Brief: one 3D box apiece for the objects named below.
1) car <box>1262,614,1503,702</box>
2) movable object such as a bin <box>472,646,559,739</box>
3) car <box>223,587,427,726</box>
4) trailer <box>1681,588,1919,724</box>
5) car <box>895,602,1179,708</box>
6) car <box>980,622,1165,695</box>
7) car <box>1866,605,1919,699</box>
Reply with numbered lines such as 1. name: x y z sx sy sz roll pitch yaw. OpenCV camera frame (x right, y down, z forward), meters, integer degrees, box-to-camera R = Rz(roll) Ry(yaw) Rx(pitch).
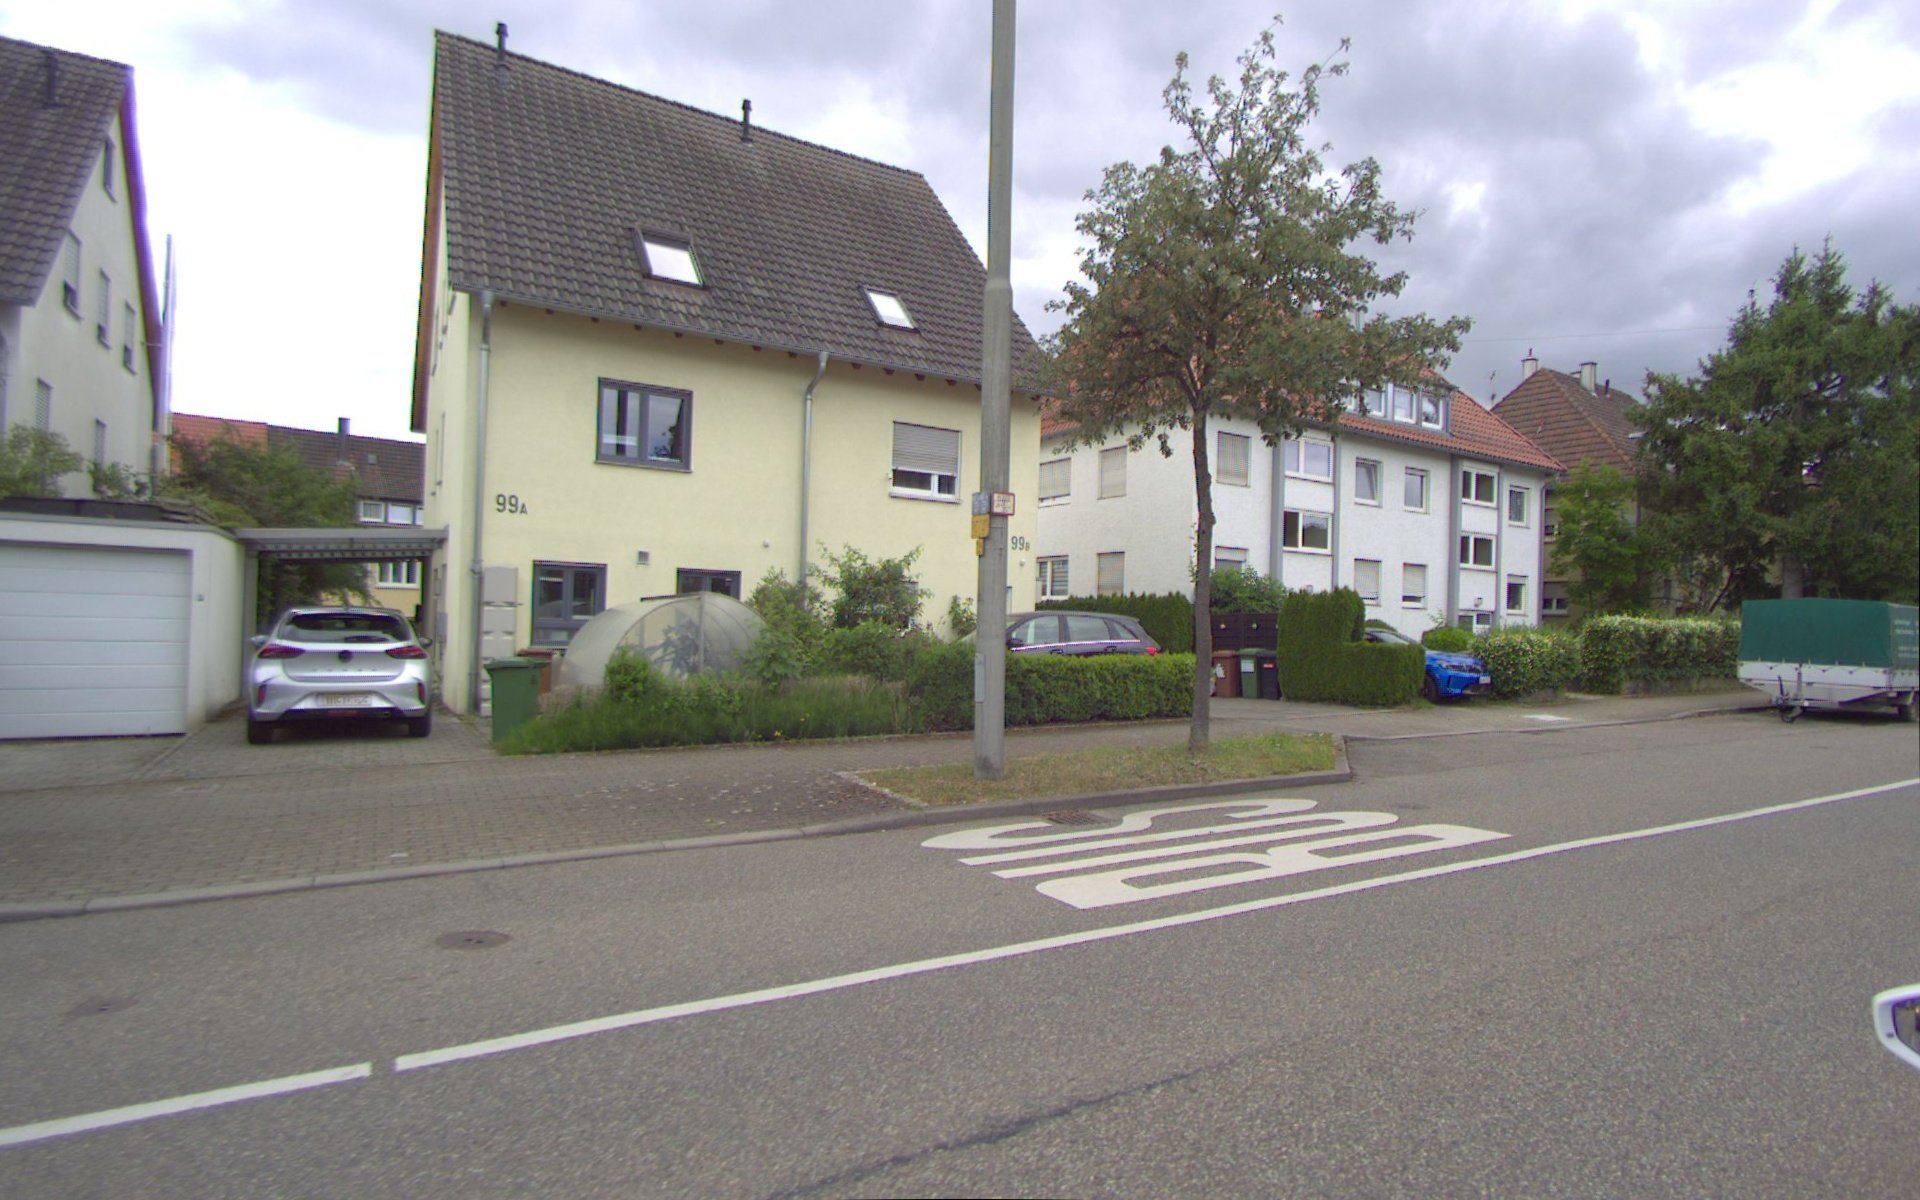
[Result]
1. car: 7.989 1.060 19.264 1.565 1.355 3.953 4 -1 -40
2. movable object such as a bin: -4.623 0.957 10.475 0.535 0.913 0.579 1 -4 13
3. car: -7.534 0.562 12.080 1.736 1.303 4.044 2 1 -31
4. trailer: 15.908 1.001 18.452 5.809 2.114 2.299 3 0 -32
5. car: 1.202 0.835 15.418 3.950 1.436 1.869 3 -1 -28
6. car: 2.282 1.167 21.269 1.825 1.359 3.964 1 -1 -33
7. car: 22.232 1.212 22.374 4.512 1.947 1.877 3 0 -32
